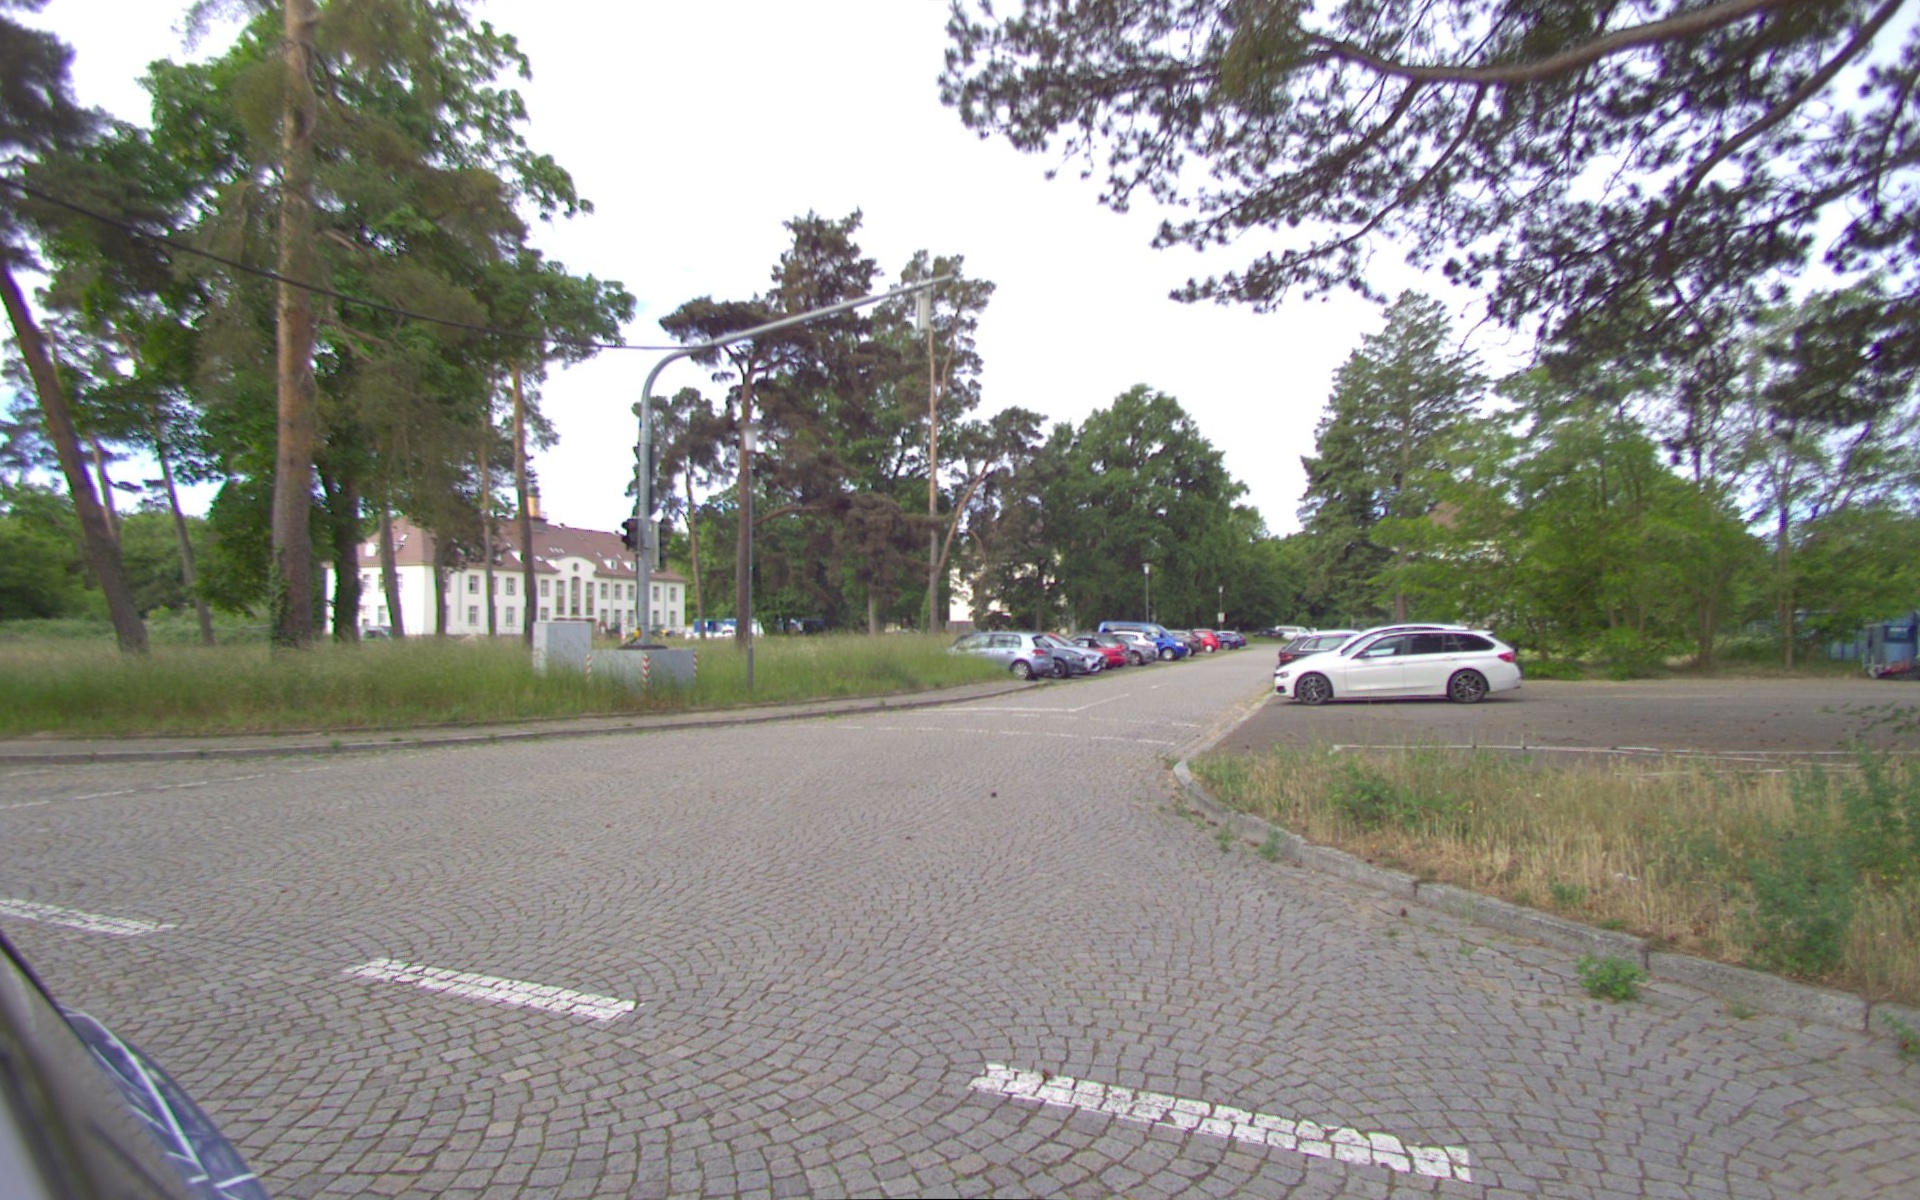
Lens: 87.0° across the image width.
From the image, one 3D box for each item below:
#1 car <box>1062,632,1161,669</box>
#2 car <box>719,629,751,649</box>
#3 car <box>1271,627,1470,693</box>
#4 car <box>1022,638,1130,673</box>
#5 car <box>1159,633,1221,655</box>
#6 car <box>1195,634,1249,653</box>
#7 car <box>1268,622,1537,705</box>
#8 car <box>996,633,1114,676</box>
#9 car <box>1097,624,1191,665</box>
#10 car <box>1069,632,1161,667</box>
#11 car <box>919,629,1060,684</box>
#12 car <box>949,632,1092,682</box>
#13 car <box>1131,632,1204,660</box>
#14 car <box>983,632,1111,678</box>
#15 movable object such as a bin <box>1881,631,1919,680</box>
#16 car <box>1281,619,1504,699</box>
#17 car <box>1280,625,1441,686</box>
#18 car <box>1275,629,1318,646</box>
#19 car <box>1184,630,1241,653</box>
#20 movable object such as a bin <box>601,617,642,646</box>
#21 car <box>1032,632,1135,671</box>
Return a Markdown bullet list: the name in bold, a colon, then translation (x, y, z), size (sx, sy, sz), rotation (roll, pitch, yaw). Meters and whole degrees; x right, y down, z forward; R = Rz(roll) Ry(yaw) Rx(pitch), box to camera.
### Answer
- **car**: translation (6.769, 2.243, 45.331), size (4.077, 1.528, 1.686), rotation (0, -2, 25)
- **car**: translation (-28.832, 4.989, 129.615), size (1.851, 2.382, 4.415), rotation (-2, -2, 22)
- **car**: translation (10.186, 1.512, 25.409), size (4.416, 1.435, 1.710), rotation (-4, -3, 20)
- **car**: translation (4.630, 2.183, 40.315), size (4.027, 1.250, 1.537), rotation (0, -2, 23)
- **car**: translation (16.149, 3.094, 71.035), size (4.062, 1.455, 1.712), rotation (0, -2, 24)
- **car**: translation (21.961, 3.627, 84.773), size (4.080, 1.545, 1.709), rotation (0, -2, 30)
- **car**: translation (8.738, 1.303, 20.433), size (4.718, 1.499, 1.854), rotation (-3, -4, 20)
- **car**: translation (3.604, 2.022, 38.396), size (4.160, 1.493, 1.704), rotation (0, -2, 23)
- **car**: translation (9.651, 2.277, 53.100), size (4.578, 2.021, 1.896), rotation (0, -1, 24)
- **car**: translation (7.375, 2.340, 48.219), size (4.030, 1.528, 1.587), rotation (0, -2, 25)
- **car**: translation (0.905, 1.695, 31.088), size (3.985, 1.439, 1.686), rotation (2, -1, 21)
- **car**: translation (2.001, 1.853, 33.452), size (4.411, 1.394, 1.652), rotation (2, -1, 21)
- **car**: translation (12.604, 2.764, 61.427), size (4.063, 1.605, 1.640), rotation (0, -2, 25)
- **car**: translation (3.085, 1.926, 35.951), size (4.226, 1.485, 1.703), rotation (0, -2, 25)
- **movable object such as a bin**: translation (23.555, 1.331, 24.071), size (2.252, 1.134, 0.853), rotation (0, -1, 21)
- **car**: translation (9.592, 1.335, 22.822), size (4.338, 1.610, 1.862), rotation (-3, -3, 17)
- **car**: translation (10.964, 1.530, 27.962), size (3.931, 1.481, 1.575), rotation (-4, -3, 19)
- **car**: translation (42.665, 4.748, 128.468), size (5.112, 2.166, 1.763), rotation (0, -2, 19)
- **car**: translation (20.094, 3.295, 80.518), size (4.070, 1.708, 1.709), rotation (0, -2, 30)
- **movable object such as a bin**: translation (-46.672, 4.358, 139.420), size (5.434, 3.799, 2.035), rotation (-2, -2, 26)
- **car**: translation (5.228, 2.147, 42.937), size (4.030, 1.528, 1.587), rotation (0, -2, 25)
